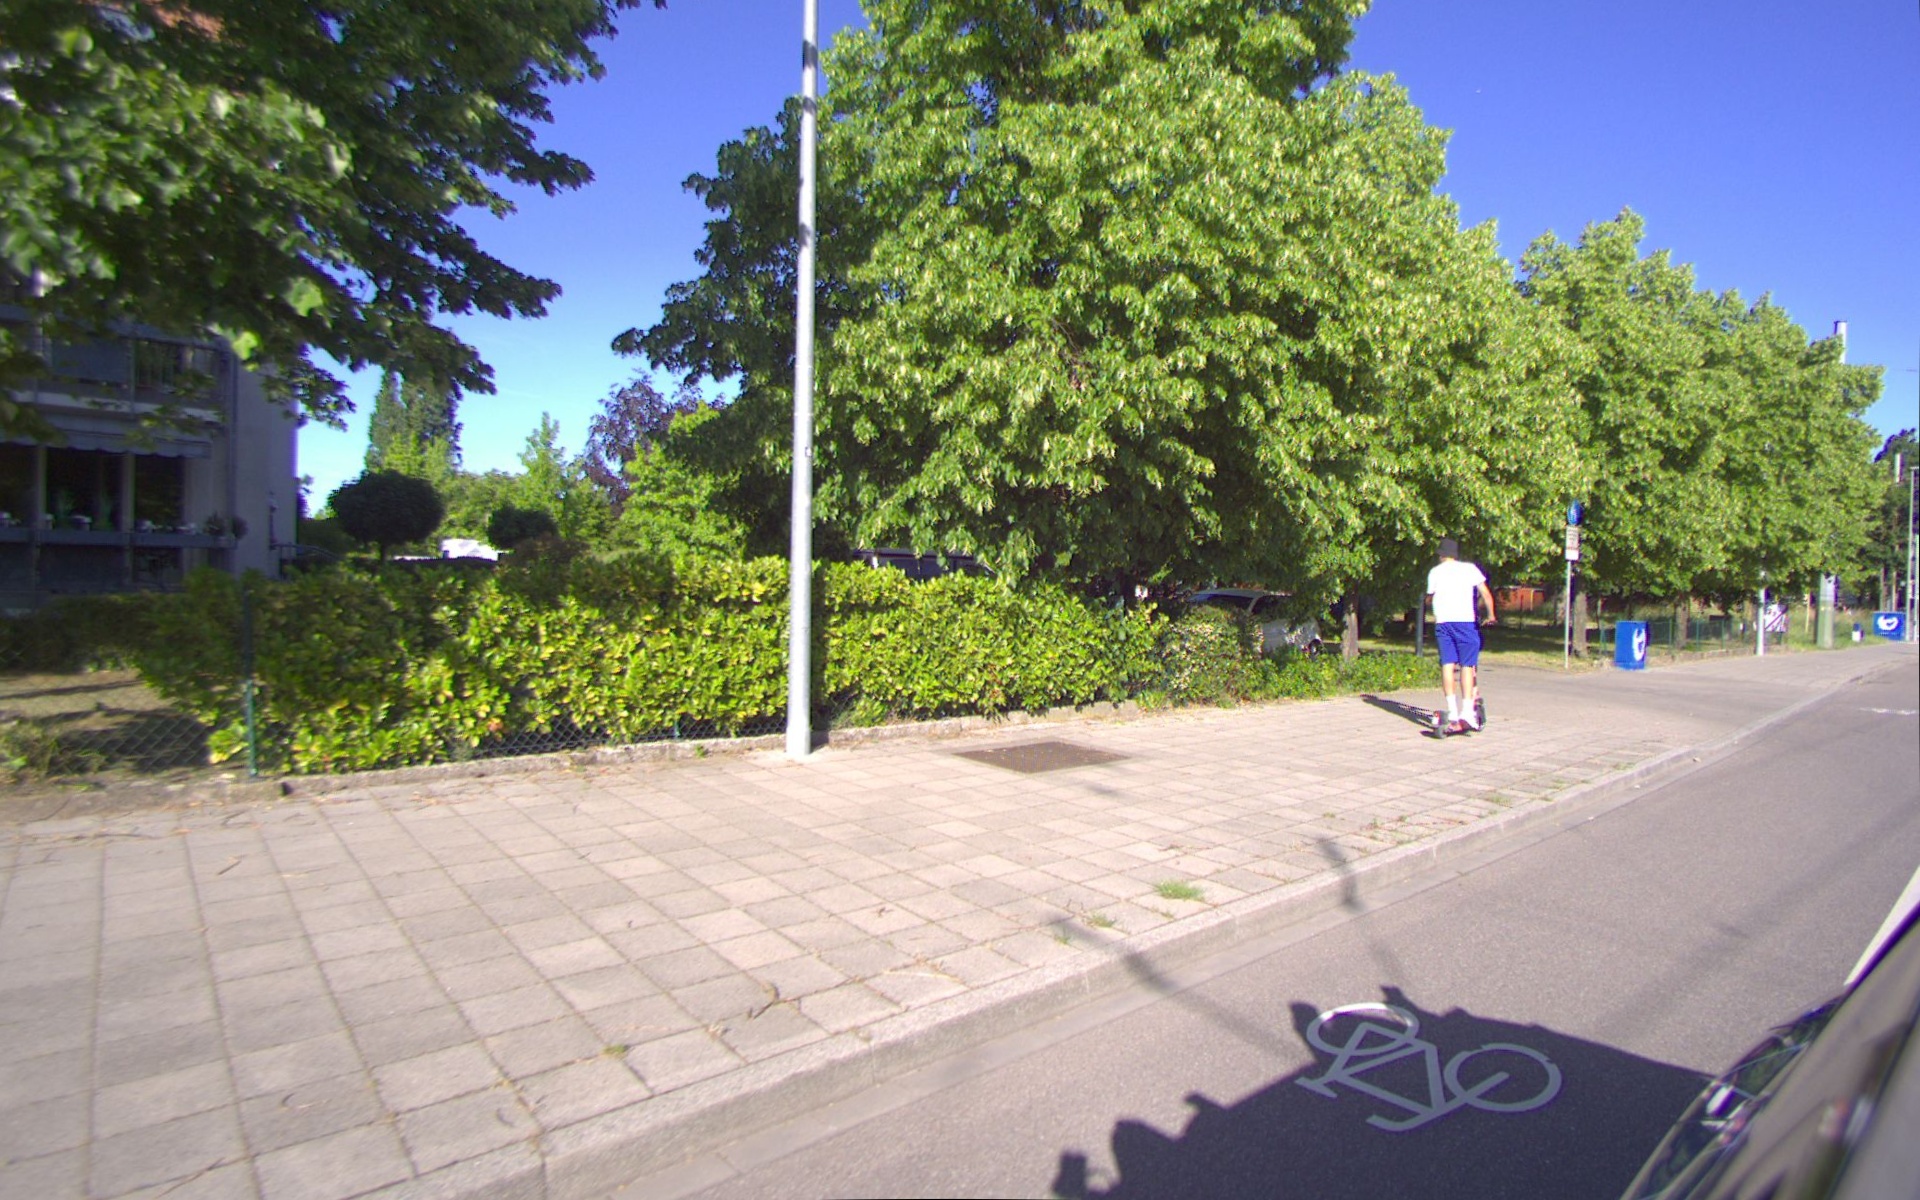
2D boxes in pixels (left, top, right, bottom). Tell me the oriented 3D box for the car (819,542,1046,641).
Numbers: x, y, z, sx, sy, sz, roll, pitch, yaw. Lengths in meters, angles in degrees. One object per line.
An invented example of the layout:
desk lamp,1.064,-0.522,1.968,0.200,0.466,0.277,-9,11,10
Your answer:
car,-0.515,-0.193,22.360,4.870,1.962,1.877,0,2,-40

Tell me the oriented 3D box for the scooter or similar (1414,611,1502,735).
scooter or similar,4.980,0.695,10.092,1.187,1.151,0.349,0,1,-42

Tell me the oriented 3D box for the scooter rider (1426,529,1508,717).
scooter rider,5.027,0.216,10.027,0.588,1.789,0.551,1,-1,-42

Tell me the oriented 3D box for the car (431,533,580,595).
car,-19.920,-1.508,44.522,5.586,2.565,2.194,-1,0,-42

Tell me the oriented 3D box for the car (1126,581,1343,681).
car,4.466,0.431,16.146,3.985,1.378,1.464,0,2,-43
